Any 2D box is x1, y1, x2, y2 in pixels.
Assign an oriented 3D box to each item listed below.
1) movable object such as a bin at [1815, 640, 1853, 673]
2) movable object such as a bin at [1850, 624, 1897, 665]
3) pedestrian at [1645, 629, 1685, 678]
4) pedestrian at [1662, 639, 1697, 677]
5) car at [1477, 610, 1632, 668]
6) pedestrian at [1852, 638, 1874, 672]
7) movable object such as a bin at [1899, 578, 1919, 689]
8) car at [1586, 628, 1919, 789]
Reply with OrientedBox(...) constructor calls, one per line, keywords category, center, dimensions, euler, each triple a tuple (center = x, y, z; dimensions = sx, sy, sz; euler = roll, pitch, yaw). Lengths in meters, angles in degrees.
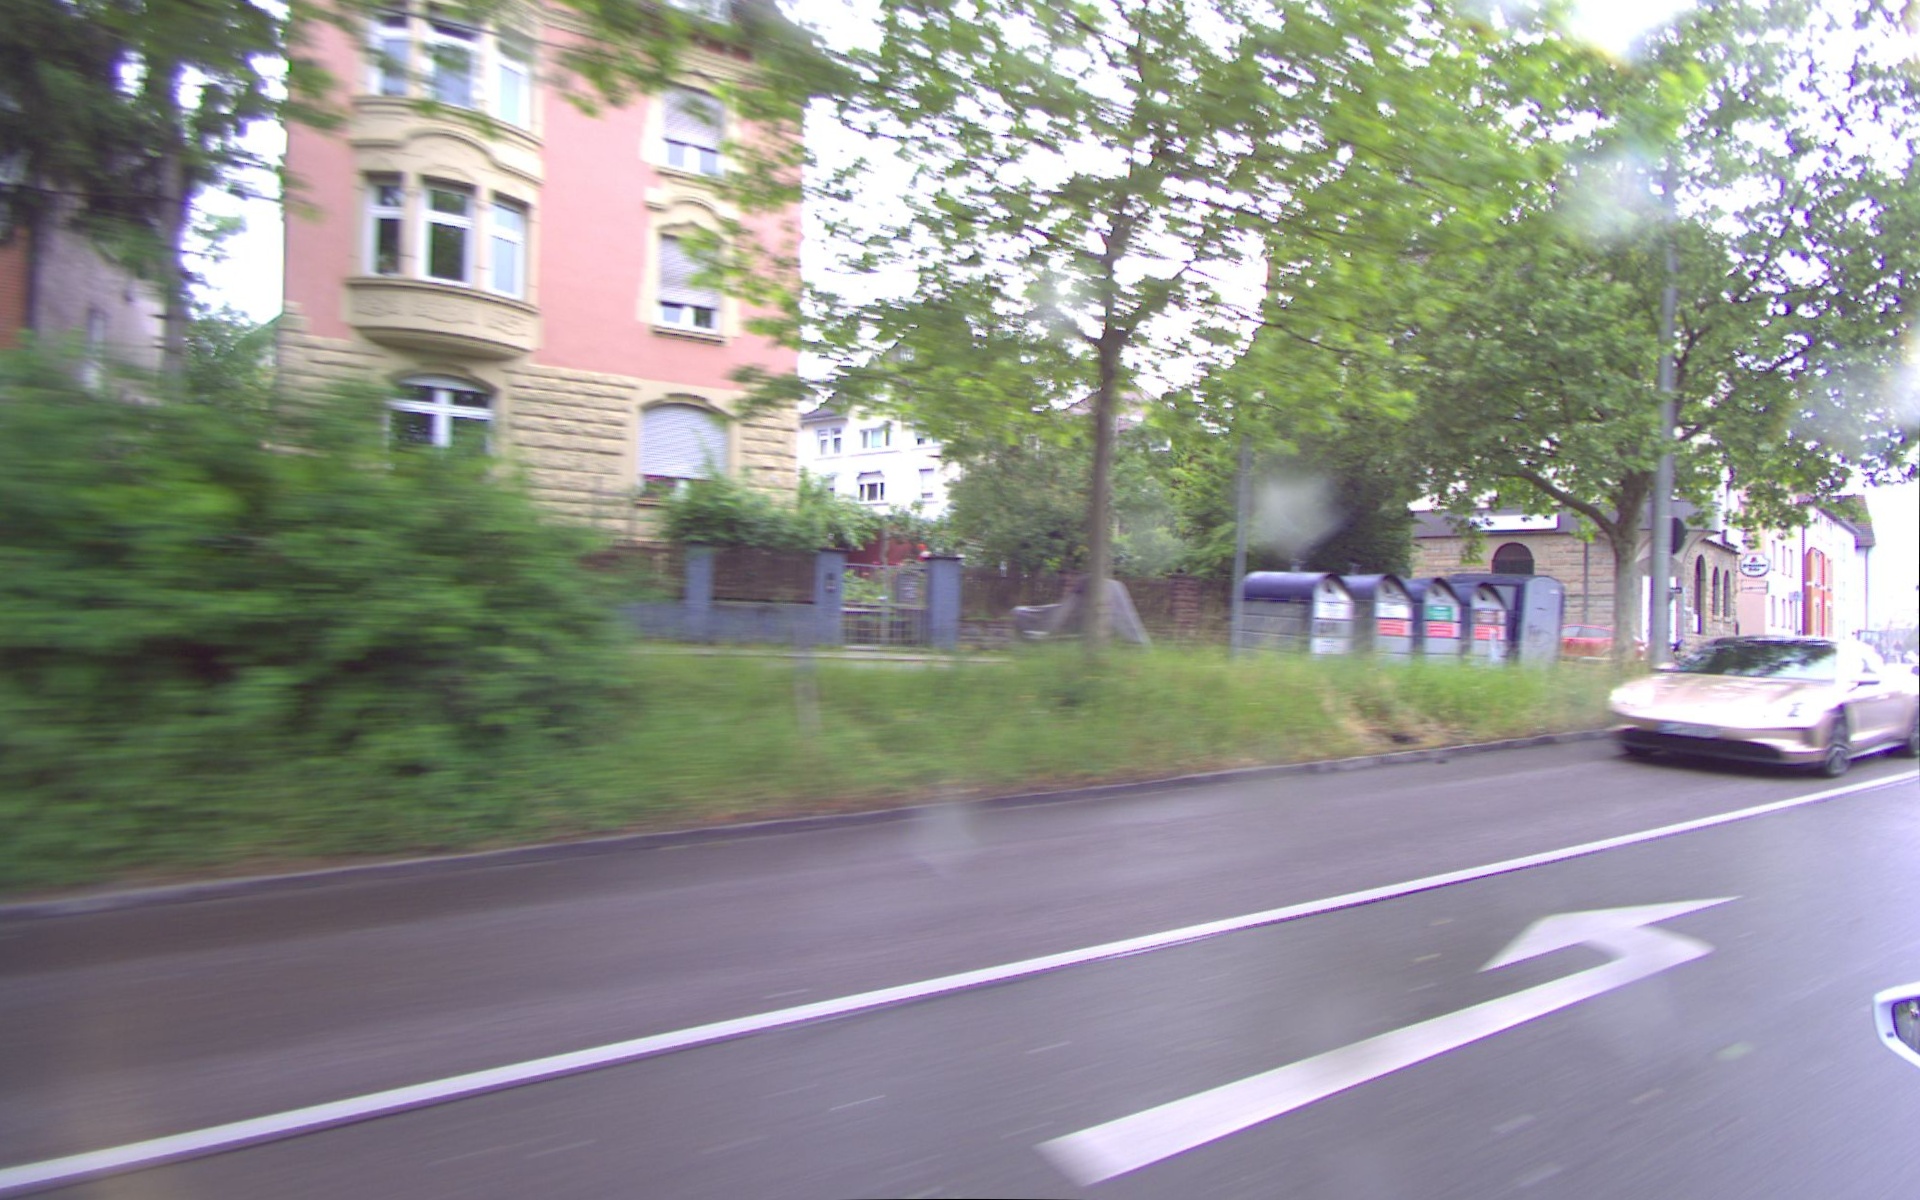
OrientedBox(category="movable object such as a bin", center=(35.408, 2.282, 40.706), dimensions=(0.877, 1.239, 1.202), euler=(1, 1, 29))
OrientedBox(category="movable object such as a bin", center=(66.527, 3.194, 73.137), dimensions=(4.591, 2.719, 1.976), euler=(0, 1, -41))
OrientedBox(category="pedestrian", center=(21.703, 1.635, 30.920), dimensions=(0.776, 1.420, 0.798), euler=(0, 1, -39))
OrientedBox(category="pedestrian", center=(22.503, 1.803, 31.414), dimensions=(0.726, 1.139, 0.735), euler=(0, 1, -41))
OrientedBox(category="car", center=(20.743, 1.295, 35.121), dimensions=(4.471, 1.595, 1.930), euler=(4, 3, 36))
OrientedBox(category="pedestrian", center=(45.007, 2.712, 50.058), dimensions=(0.756, 1.610, 1.085), euler=(1, 1, 44))
OrientedBox(category="movable object such as a bin", center=(36.549, 1.191, 36.457), dimensions=(5.934, 3.907, 2.753), euler=(0, 1, -38))
OrientedBox(category="car", center=(9.331, 1.070, 11.619), dimensions=(4.670, 1.371, 2.055), euler=(0, 1, -38))
